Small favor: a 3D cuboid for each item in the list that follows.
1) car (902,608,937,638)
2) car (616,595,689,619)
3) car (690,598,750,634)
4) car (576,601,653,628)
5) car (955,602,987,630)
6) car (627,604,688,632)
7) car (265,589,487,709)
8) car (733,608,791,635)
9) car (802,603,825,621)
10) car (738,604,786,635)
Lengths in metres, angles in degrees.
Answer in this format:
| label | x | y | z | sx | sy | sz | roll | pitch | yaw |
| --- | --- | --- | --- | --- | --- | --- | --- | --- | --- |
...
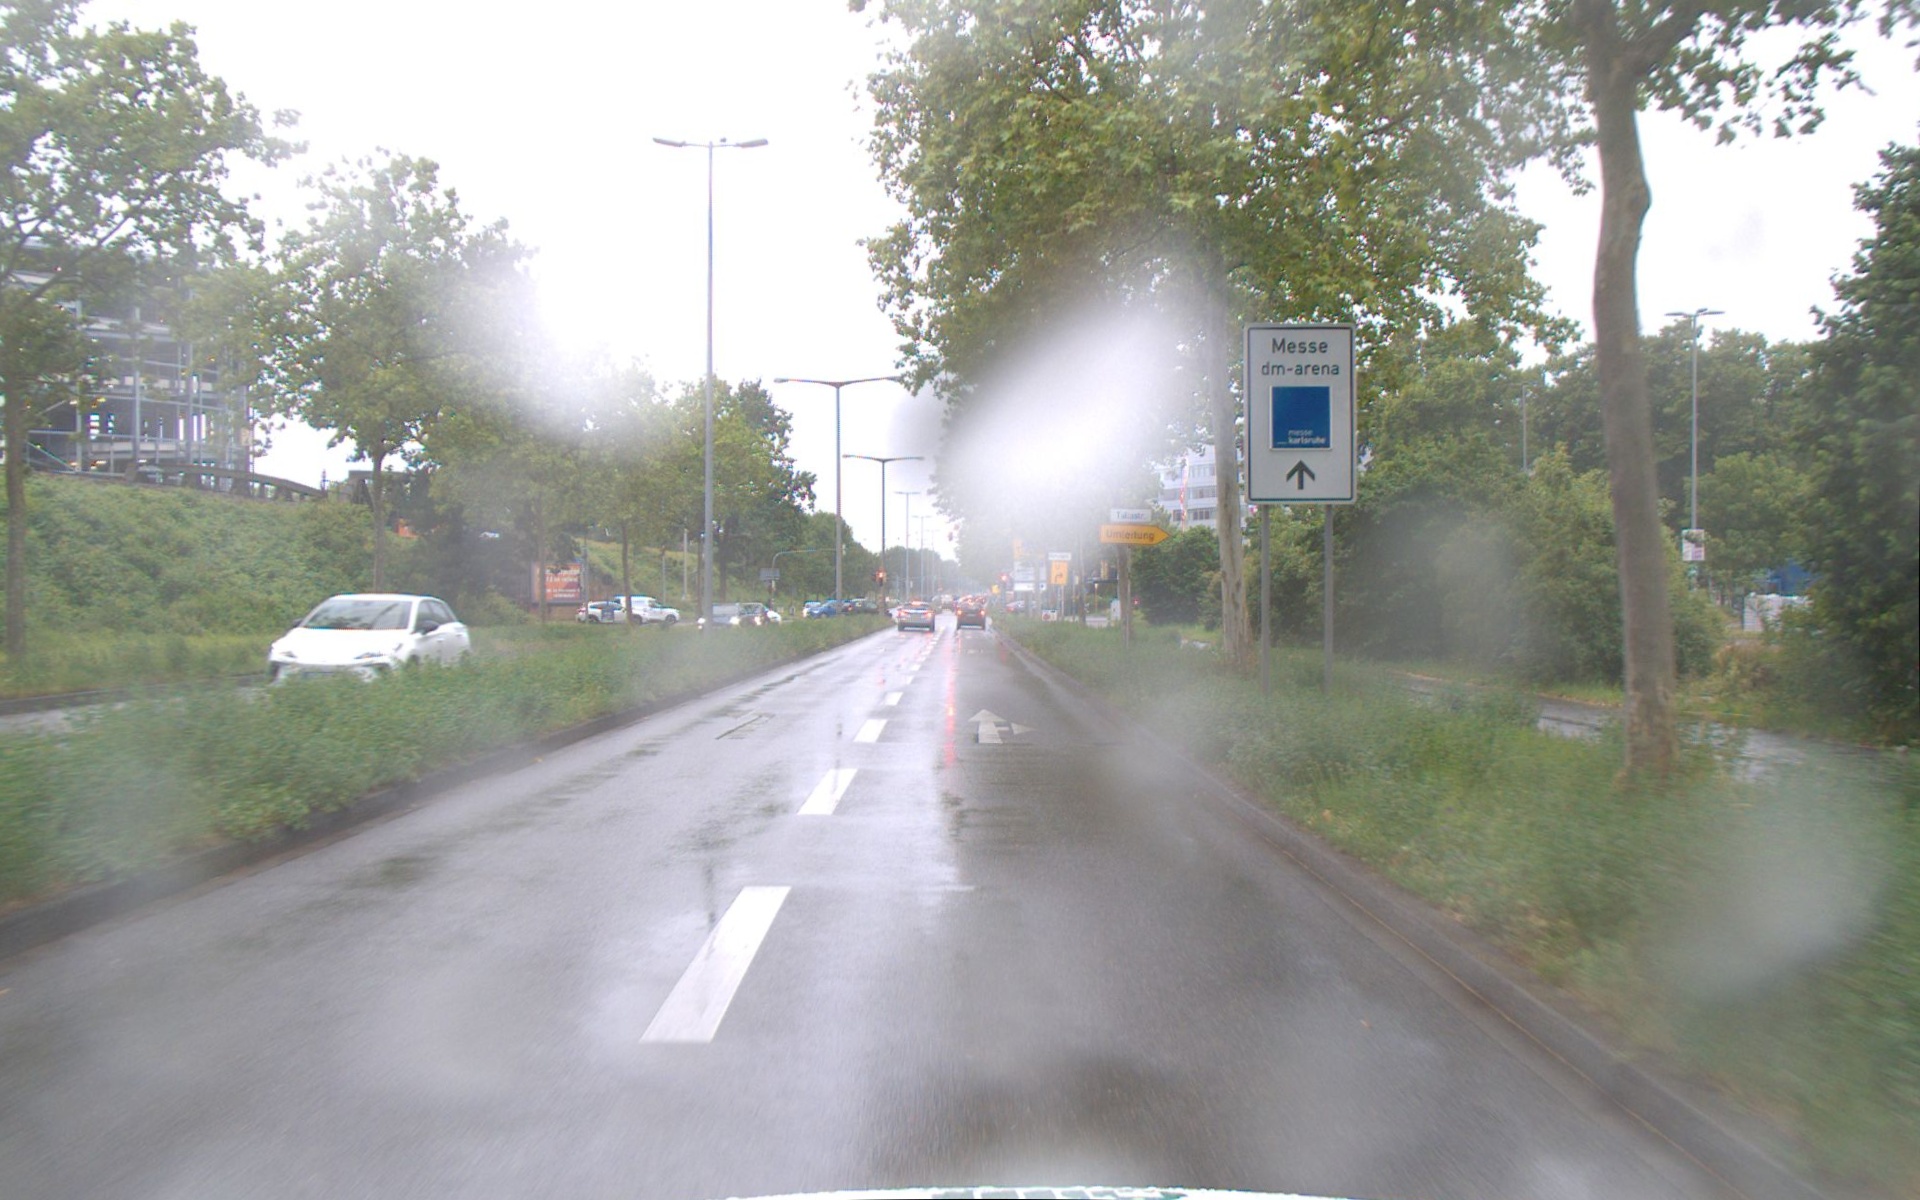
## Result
| label | x | y | z | sx | sy | sz | roll | pitch | yaw |
| --- | --- | --- | --- | --- | --- | --- | --- | --- | --- |
| car | -2.040 | 1.163 | 84.384 | 1.655 | 1.458 | 4.574 | 1 | 0 | 0 |
| car | -19.772 | 0.449 | 106.527 | 4.324 | 1.564 | 1.785 | 0 | -1 | -29 |
| car | -10.269 | 0.669 | 71.034 | 1.891 | 1.470 | 4.496 | 1 | 0 | 0 |
| car | -20.925 | 0.856 | 100.106 | 4.431 | 1.617 | 1.854 | 0 | -1 | -17 |
| car | 0.645 | 0.935 | 97.093 | 1.759 | 1.564 | 4.387 | 2 | 0 | 0 |
| car | -21.482 | 1.267 | 117.478 | 3.930 | 1.878 | 1.987 | 2 | -1 | -21 |
| car | -8.092 | 0.624 | 23.329 | 1.667 | 1.521 | 4.204 | 1 | 0 | -1 |
| car | -11.456 | 1.224 | 95.530 | 1.908 | 1.470 | 4.617 | 1 | 0 | -27 |
| car | -12.746 | 1.038 | 144.005 | 1.677 | 1.557 | 4.000 | 0 | 0 | 0 |
| car | -9.728 | 0.959 | 81.341 | 1.891 | 1.470 | 3.707 | 1 | 0 | 0 |
